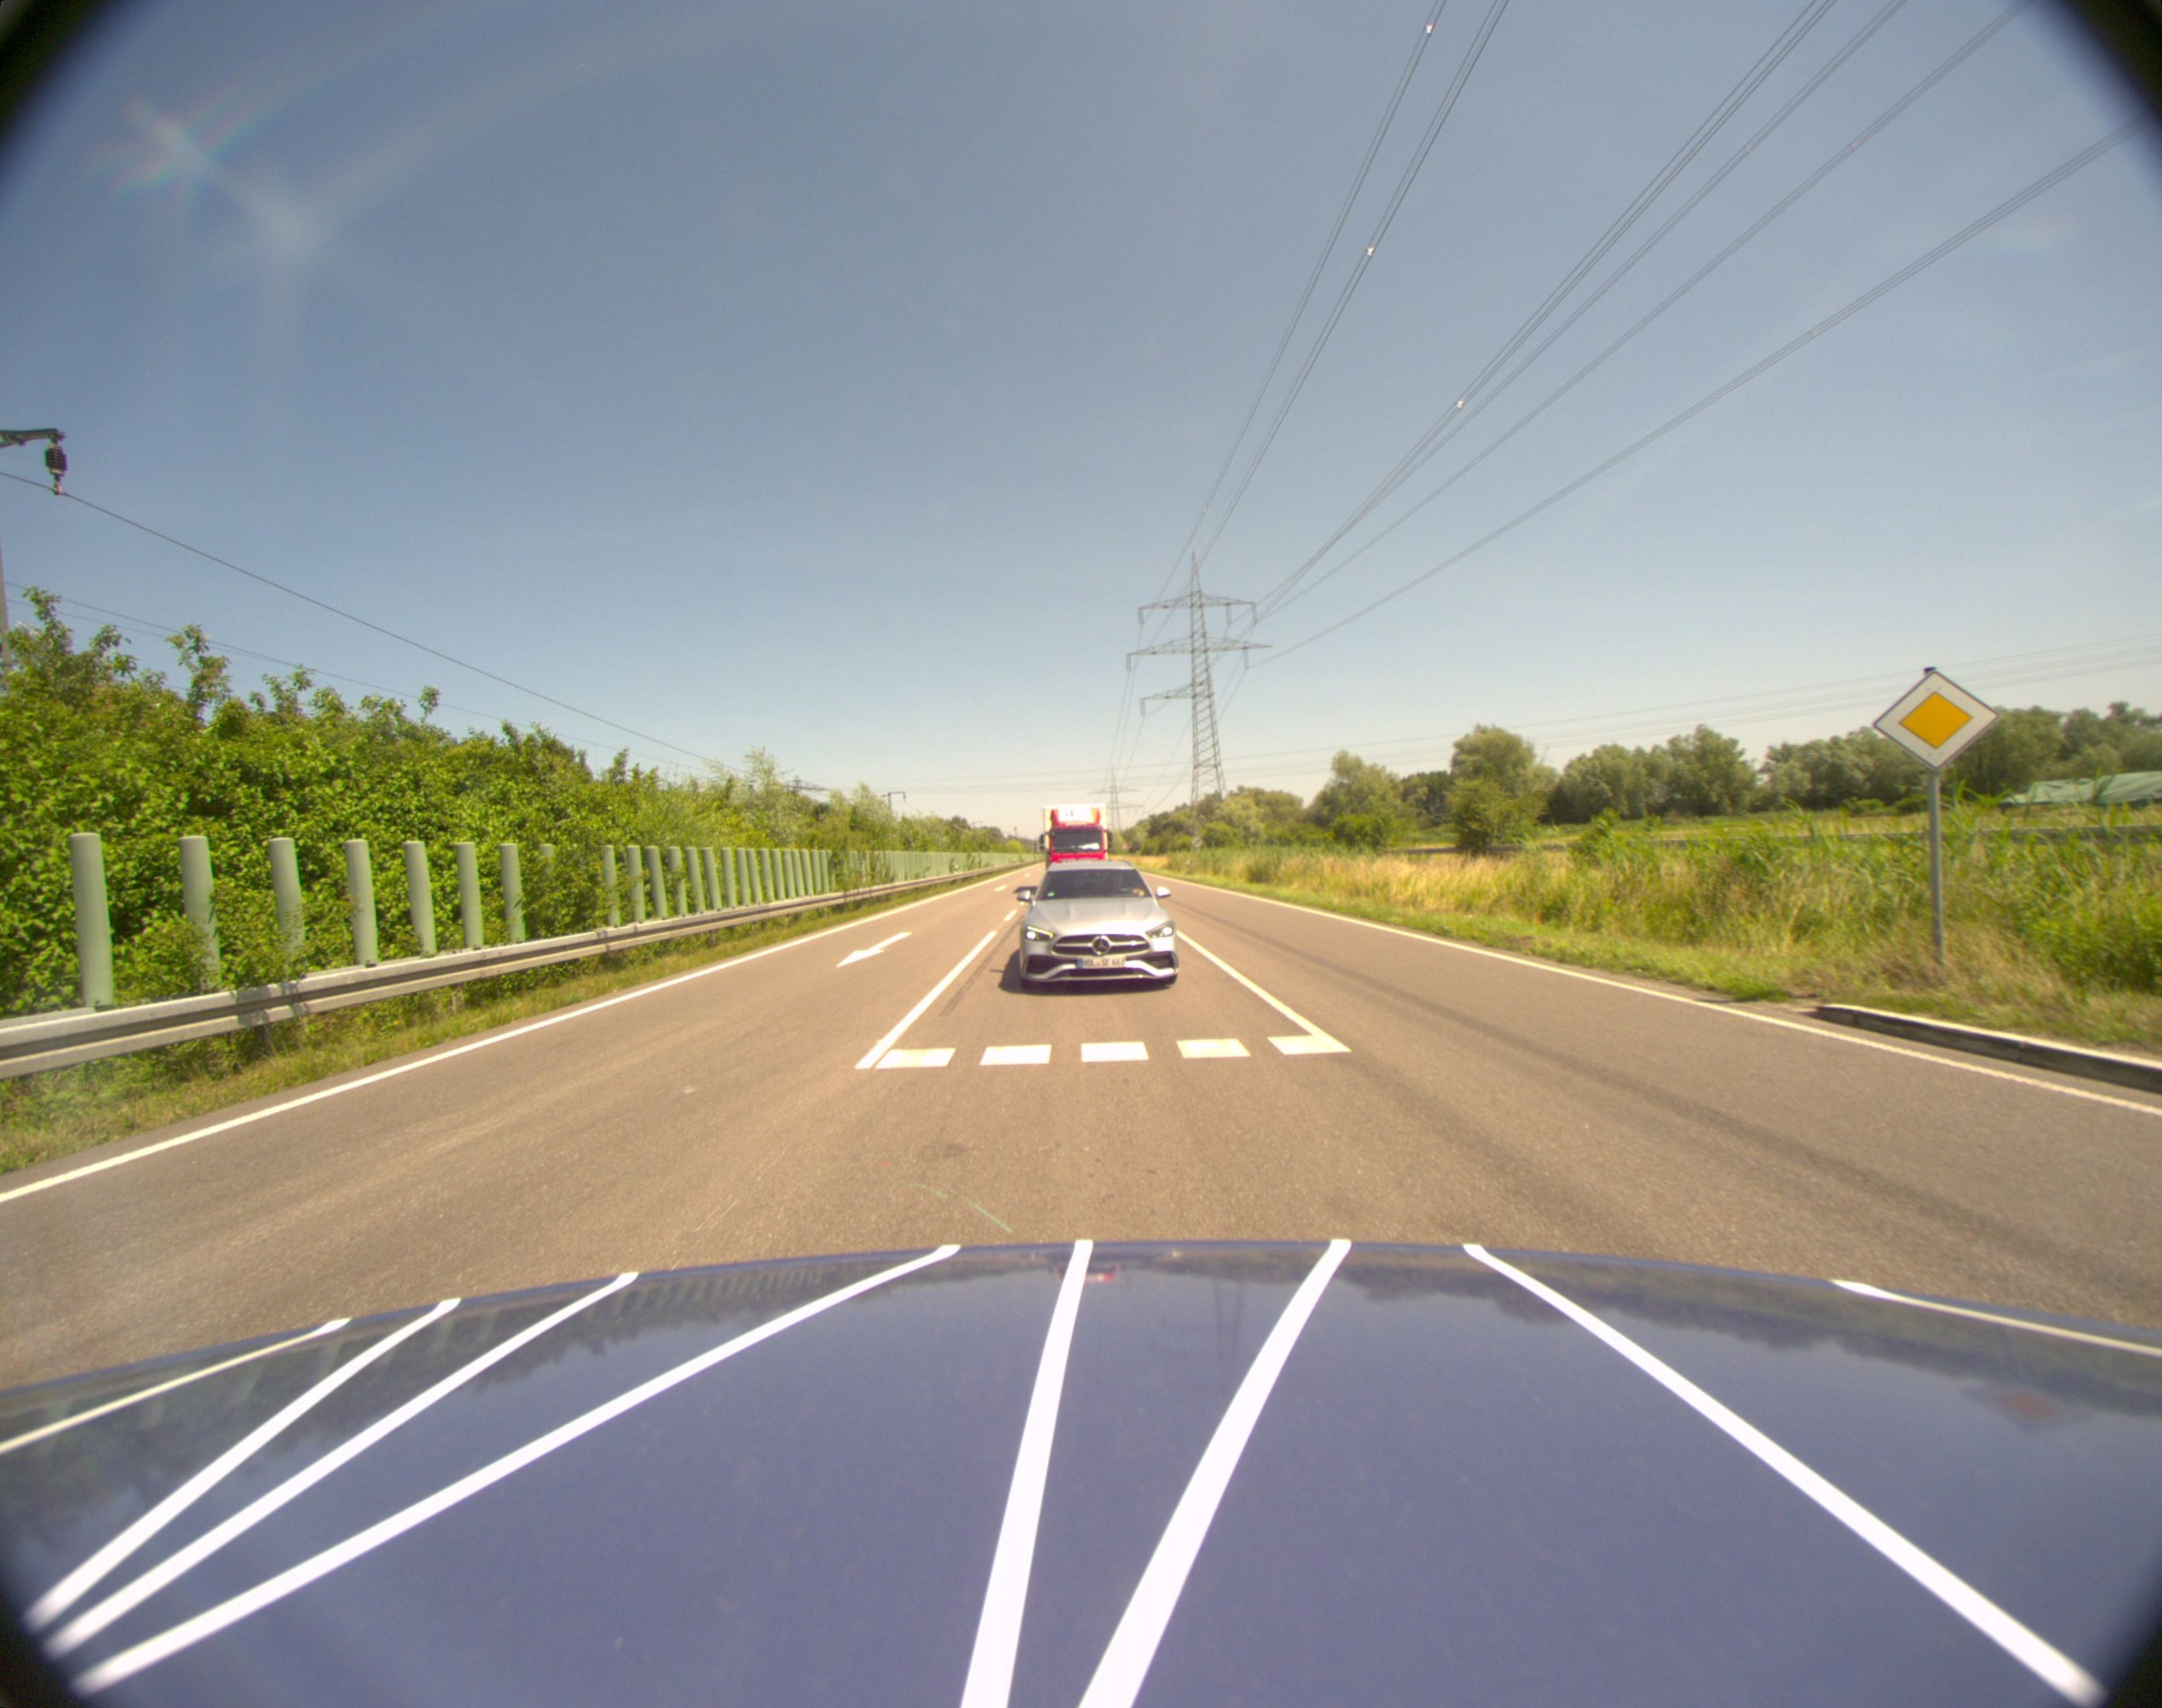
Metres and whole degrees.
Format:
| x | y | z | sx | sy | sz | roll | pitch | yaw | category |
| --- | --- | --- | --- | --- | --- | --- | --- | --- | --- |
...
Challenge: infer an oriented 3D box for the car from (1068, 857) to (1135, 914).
| x | y | z | sx | sy | sz | roll | pitch | yaw | category |
| --- | --- | --- | --- | --- | --- | --- | --- | --- | --- |
| 0.536 | 0.833 | 22.003 | 1.698 | 1.385 | 4.467 | -2 | 0 | 0 | car |

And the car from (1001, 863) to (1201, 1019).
| x | y | z | sx | sy | sz | roll | pitch | yaw | category |
| --- | --- | --- | --- | --- | --- | --- | --- | --- | --- |
| 0.186 | 0.917 | 9.975 | 1.999 | 1.437 | 4.467 | -2 | 1 | -1 | car |

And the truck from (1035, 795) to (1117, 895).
| x | y | z | sx | sy | sz | roll | pitch | yaw | category |
| --- | --- | --- | --- | --- | --- | --- | --- | --- | --- |
| -0.245 | -0.362 | 32.728 | 2.907 | 3.641 | 7.155 | -4 | 0 | -1 | truck |
